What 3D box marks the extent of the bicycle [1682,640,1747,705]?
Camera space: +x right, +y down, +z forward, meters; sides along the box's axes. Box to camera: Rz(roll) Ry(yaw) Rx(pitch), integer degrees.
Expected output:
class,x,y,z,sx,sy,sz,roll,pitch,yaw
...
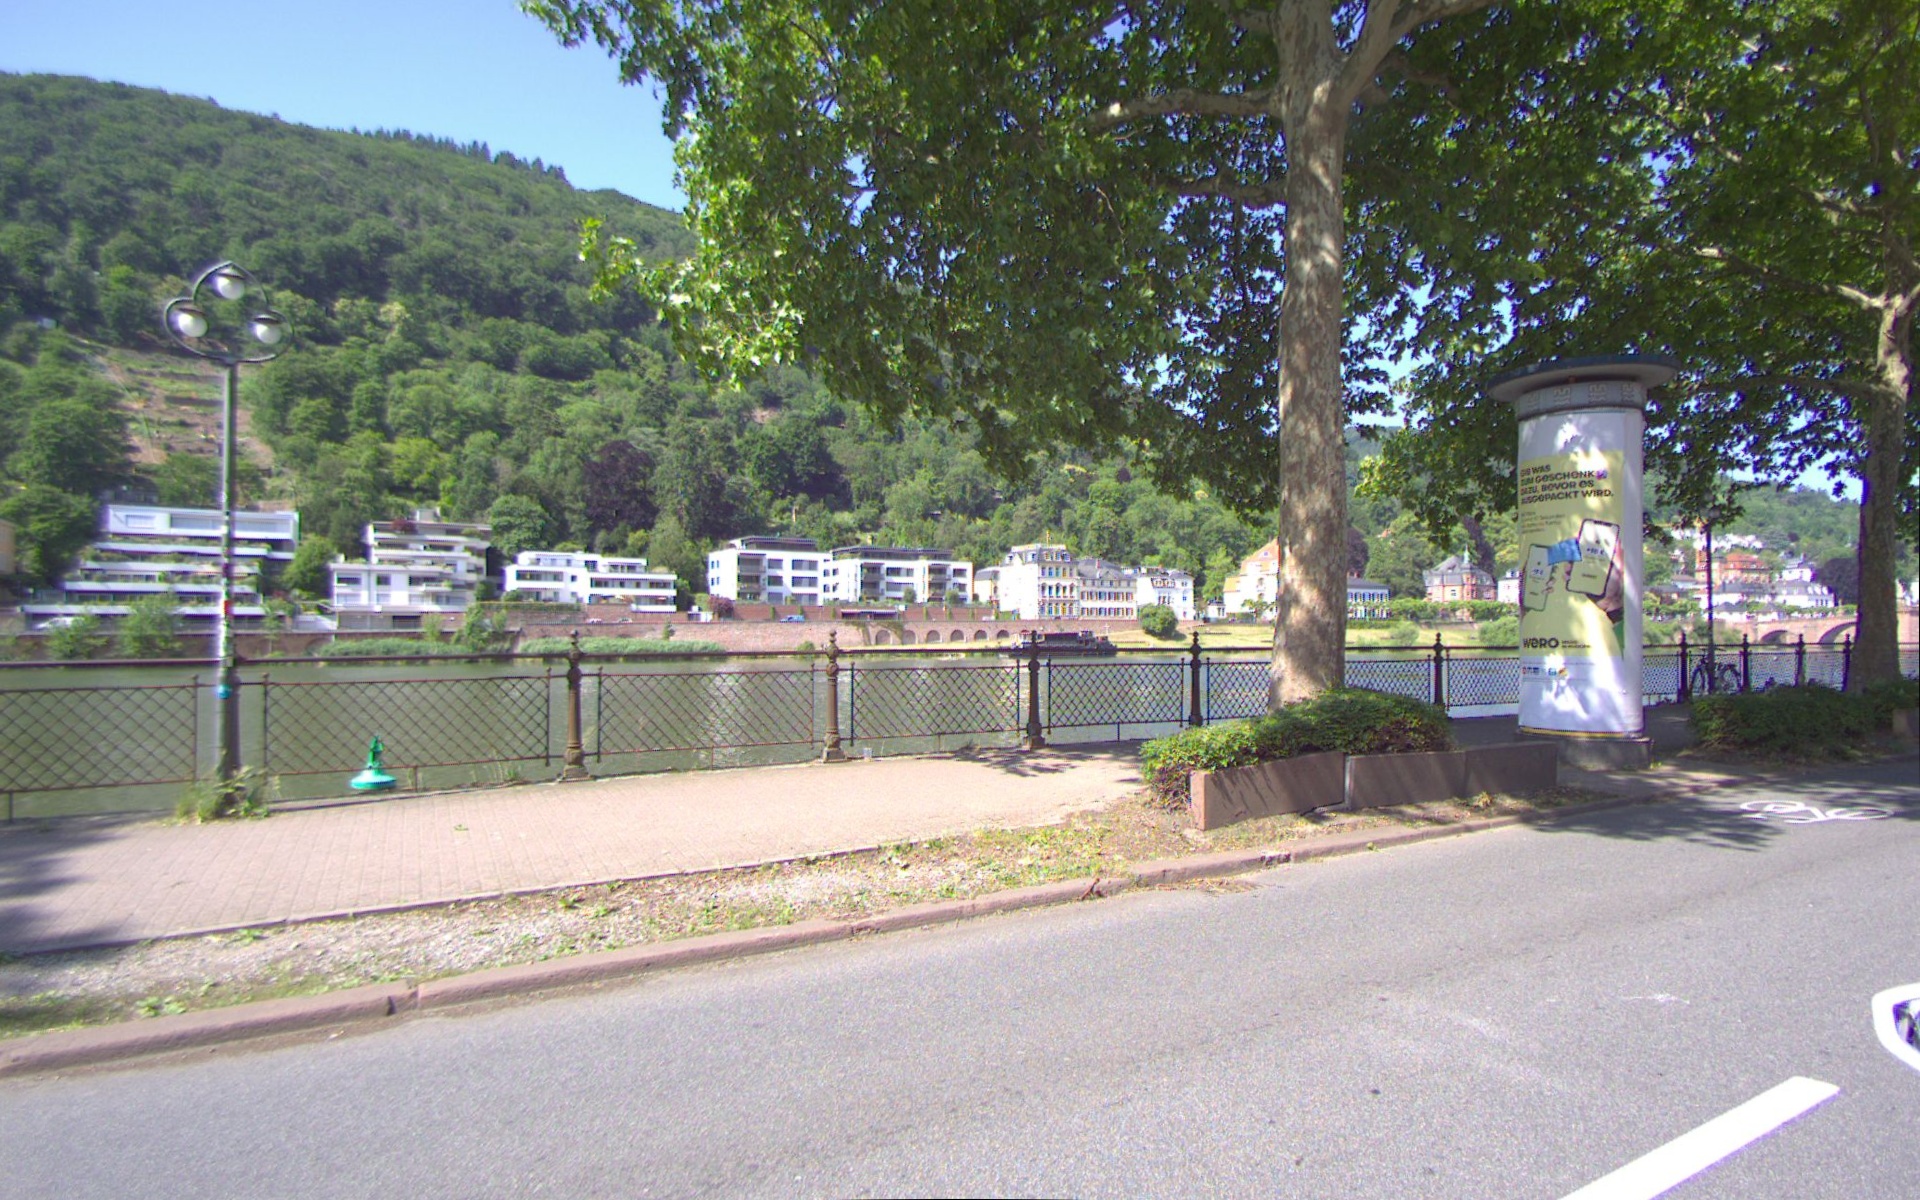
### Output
class,x,y,z,sx,sy,sz,roll,pitch,yaw
bicycle,14.236,1.345,18.936,1.806,1.177,0.355,1,-3,-33
